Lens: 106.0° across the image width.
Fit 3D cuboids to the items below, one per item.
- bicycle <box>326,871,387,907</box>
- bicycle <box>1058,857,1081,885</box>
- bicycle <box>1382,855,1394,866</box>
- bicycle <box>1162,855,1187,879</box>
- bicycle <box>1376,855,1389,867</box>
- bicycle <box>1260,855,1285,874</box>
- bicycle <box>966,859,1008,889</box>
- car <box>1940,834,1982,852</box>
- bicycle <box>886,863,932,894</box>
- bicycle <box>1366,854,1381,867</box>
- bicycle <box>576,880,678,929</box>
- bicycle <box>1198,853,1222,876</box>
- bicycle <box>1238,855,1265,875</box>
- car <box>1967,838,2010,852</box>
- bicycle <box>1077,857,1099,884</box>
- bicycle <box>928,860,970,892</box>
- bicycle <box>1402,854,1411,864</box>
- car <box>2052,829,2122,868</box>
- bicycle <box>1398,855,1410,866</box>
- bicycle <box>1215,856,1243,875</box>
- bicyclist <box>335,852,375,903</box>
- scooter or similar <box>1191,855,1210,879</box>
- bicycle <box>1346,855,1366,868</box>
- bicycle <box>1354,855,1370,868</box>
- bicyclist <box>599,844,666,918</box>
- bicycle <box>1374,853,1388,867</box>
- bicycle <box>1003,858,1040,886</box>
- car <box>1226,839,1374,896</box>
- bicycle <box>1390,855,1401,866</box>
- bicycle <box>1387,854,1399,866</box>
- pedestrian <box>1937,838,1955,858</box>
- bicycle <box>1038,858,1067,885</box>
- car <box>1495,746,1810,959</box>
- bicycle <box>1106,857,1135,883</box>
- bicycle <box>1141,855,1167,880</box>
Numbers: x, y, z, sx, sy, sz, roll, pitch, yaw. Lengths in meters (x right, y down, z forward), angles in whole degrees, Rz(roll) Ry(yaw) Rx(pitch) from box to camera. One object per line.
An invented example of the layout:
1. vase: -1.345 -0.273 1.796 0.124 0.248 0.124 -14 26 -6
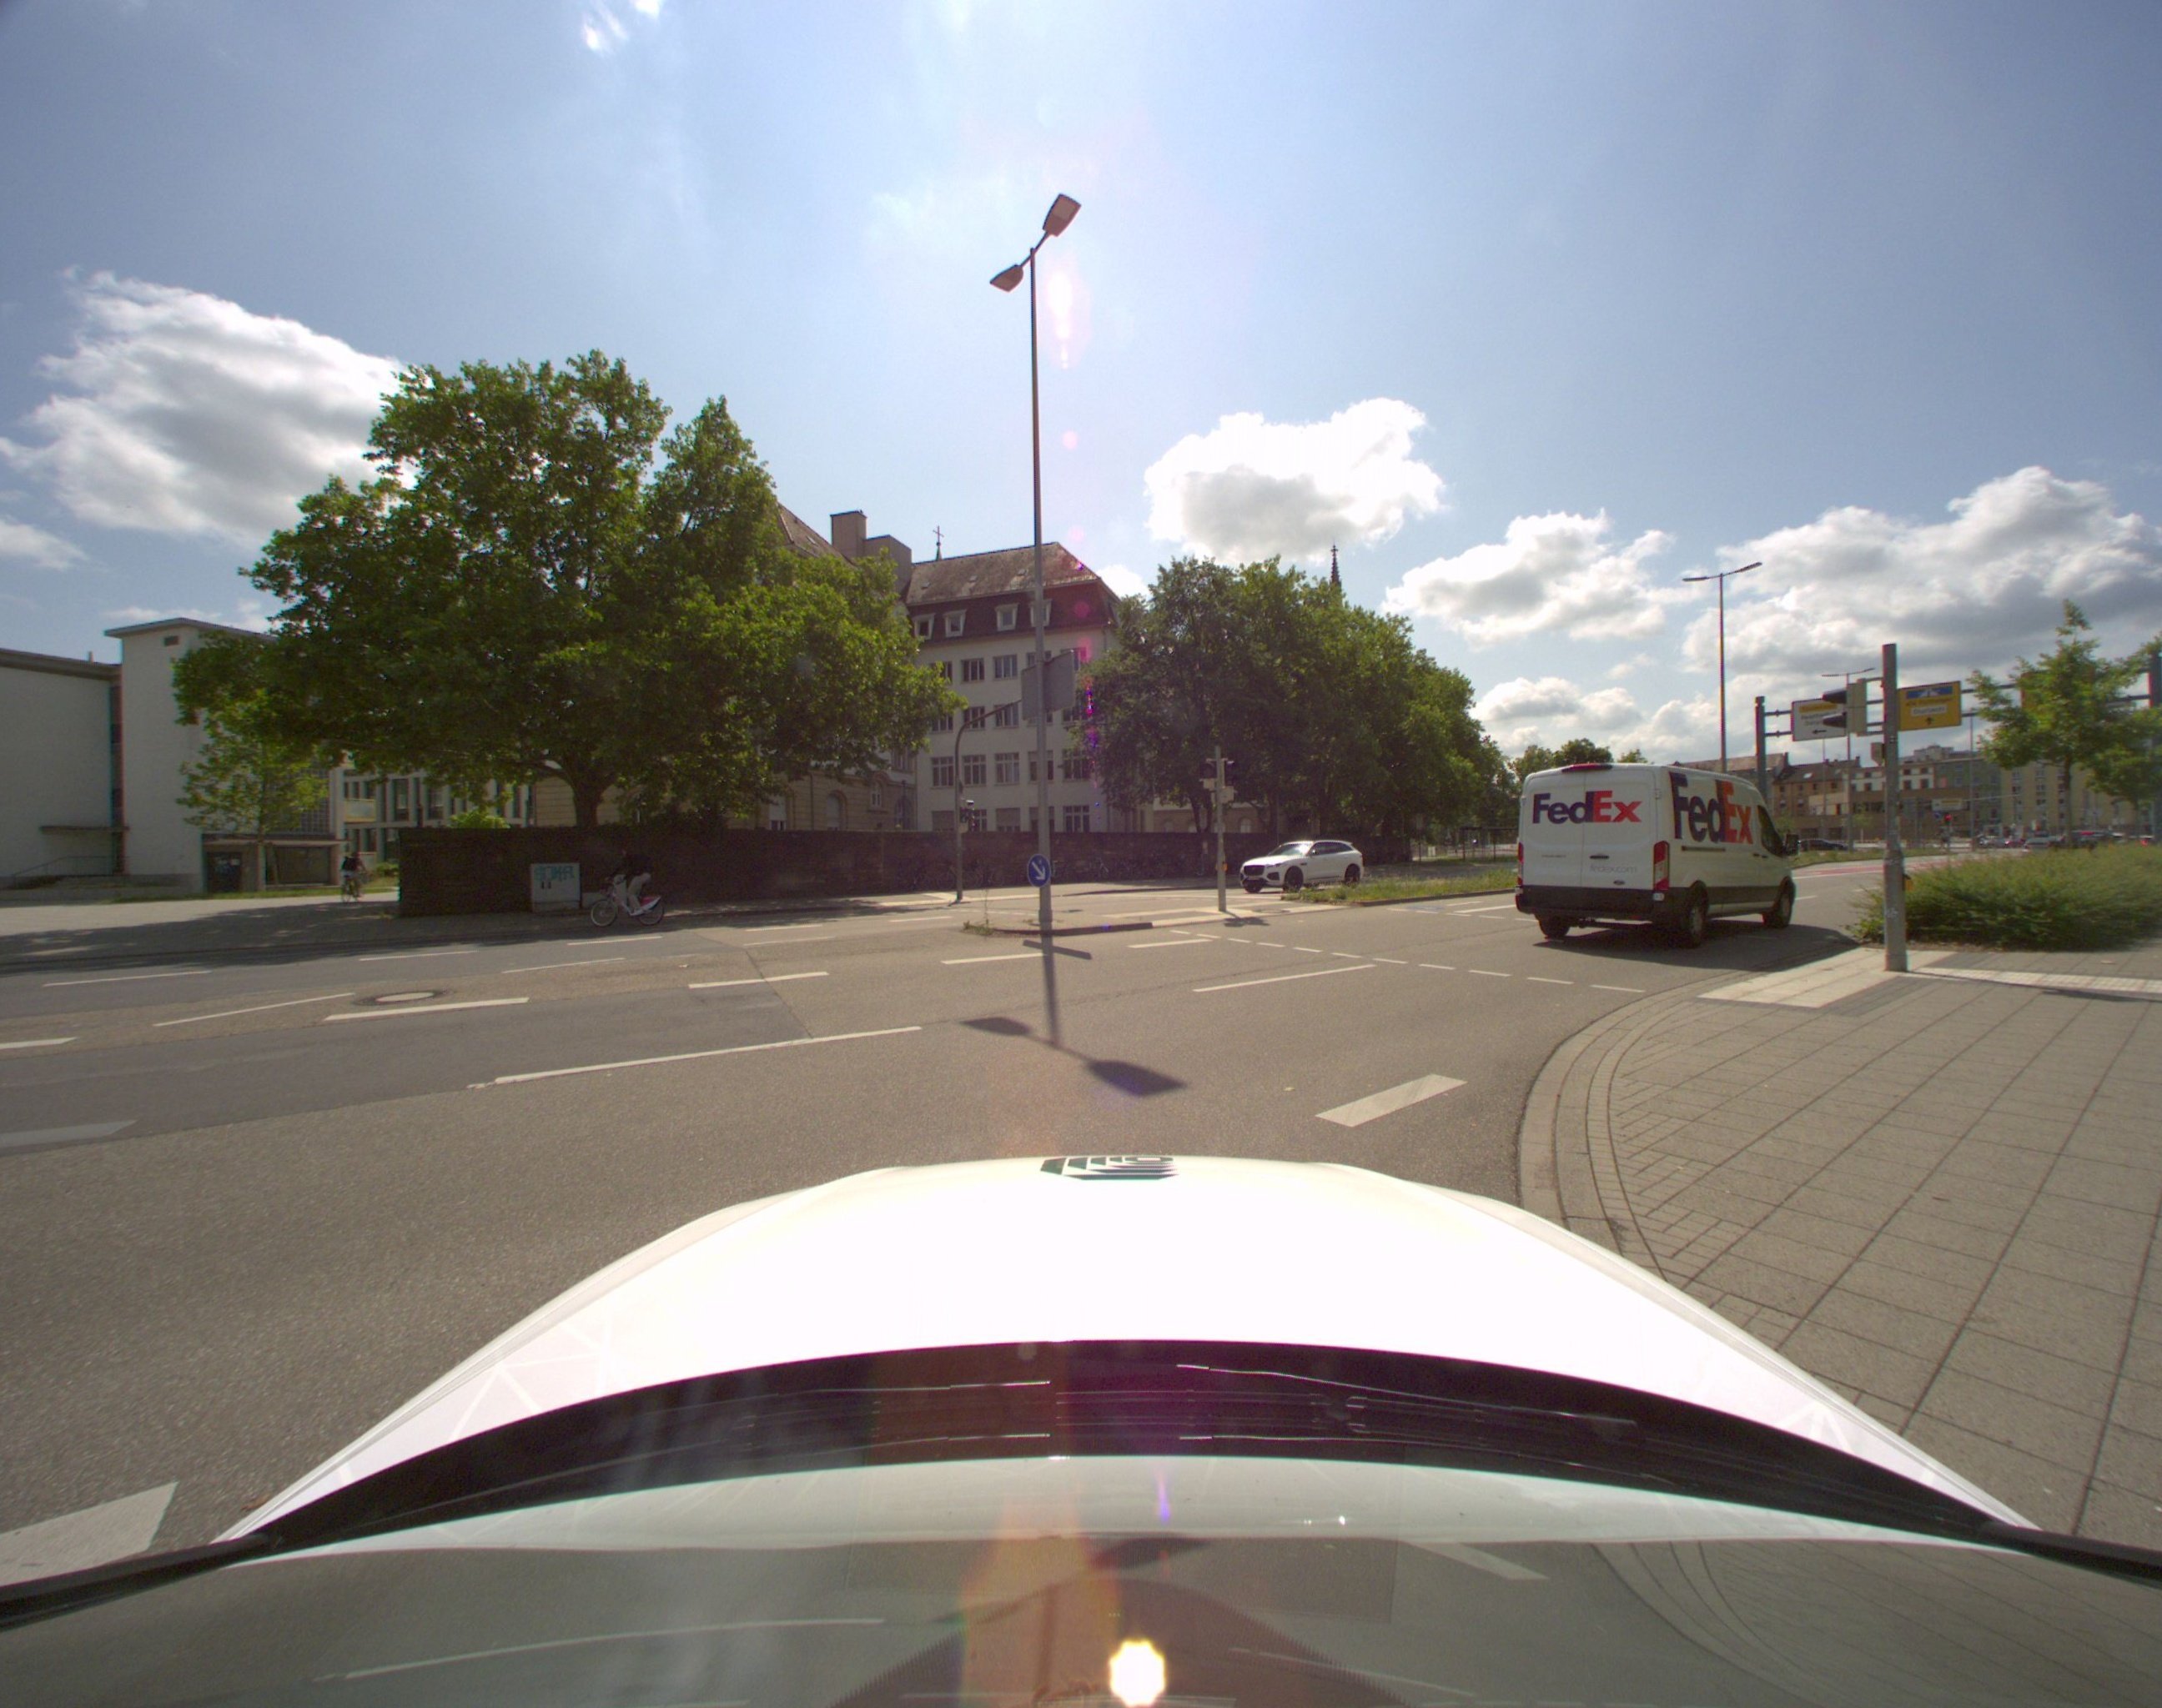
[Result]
1. bicycle: -23.582 1.130 26.558 0.679 1.072 2.380 -1 0 -22
2. bicycle: -0.493 0.739 35.410 0.398 1.152 1.603 -1 0 22
3. bicycle: 24.558 0.526 65.115 0.538 0.902 1.676 -1 0 35
4. bicycle: 4.675 0.639 40.544 0.527 1.152 1.604 -1 0 33
5. bicycle: 23.601 0.512 63.663 0.538 0.902 1.676 -1 0 35
6. bicycle: 11.109 0.578 47.208 0.538 1.047 1.907 -1 0 43
7. bicycle: -3.753 0.804 32.638 1.603 1.152 0.615 -1 0 -43
8. car: 102.771 -1.304 95.120 4.001 2.014 1.986 0 -1 -21
9. bicycle: -6.363 0.897 30.193 1.603 1.098 0.566 -1 0 -43
10. bicycle: 21.803 0.472 60.769 0.538 0.951 1.676 -1 0 38
11. bicycle: -10.554 1.166 18.967 1.884 1.063 0.817 -1 0 -2
12. bicycle: 6.813 0.546 42.872 0.428 1.143 1.604 -1 0 43
13. bicycle: 9.546 0.601 45.665 0.538 1.047 1.961 -1 0 43
14. car: 103.822 -1.000 93.171 4.001 1.585 1.894 0 -1 -21
15. bicycle: 0.333 0.739 36.095 0.398 1.152 1.603 -1 0 22
16. bicycle: -5.080 0.830 31.385 1.603 1.152 0.494 -1 0 -43
17. bicycle: 29.179 0.457 73.061 0.538 0.902 1.676 -1 0 30
18. car: 47.172 -0.295 38.162 4.407 1.734 1.799 -1 1 -35
19. bicycle: 28.241 0.595 71.180 0.538 0.902 1.676 -1 0 35
20. bicycle: 8.031 0.628 44.117 1.812 1.008 0.476 -1 0 -44
21. bicyclist: -23.497 0.746 26.371 0.679 1.600 0.917 -1 0 -22
22. scooter or similar: 6.006 0.657 41.009 0.427 1.152 1.200 -1 0 34
23. bicycle: 19.198 0.531 56.851 1.673 0.902 0.497 -1 0 -39
24. bicycle: 20.186 0.541 58.509 0.538 0.902 1.676 -1 0 40
25. bicyclist: -10.431 0.607 18.957 1.103 1.668 0.785 -1 0 -2
26. bicycle: 22.866 0.424 62.104 0.538 1.051 1.634 -1 0 38
27. bicycle: -2.489 0.742 34.014 1.602 1.152 0.409 -1 0 -41
28. car: 7.221 0.390 26.713 4.794 1.667 2.056 -1 0 -34
29. bicycle: 26.351 0.547 68.130 0.447 0.902 1.806 -1 0 35
30. bicycle: 25.478 0.498 66.555 0.538 0.902 1.676 -1 0 35
31. pedestrian: 68.496 -0.464 64.484 0.558 1.560 0.866 -1 0 -34
32. bicycle: -1.205 0.742 35.142 0.397 1.152 1.604 -1 0 32
33. car: 9.029 -0.053 12.655 5.727 2.652 2.124 -1 0 -35
34. bicycle: 1.839 0.742 37.878 0.397 1.152 1.604 -1 0 43
35. bicycle: 3.531 0.636 39.131 0.527 1.152 1.604 -1 0 33
